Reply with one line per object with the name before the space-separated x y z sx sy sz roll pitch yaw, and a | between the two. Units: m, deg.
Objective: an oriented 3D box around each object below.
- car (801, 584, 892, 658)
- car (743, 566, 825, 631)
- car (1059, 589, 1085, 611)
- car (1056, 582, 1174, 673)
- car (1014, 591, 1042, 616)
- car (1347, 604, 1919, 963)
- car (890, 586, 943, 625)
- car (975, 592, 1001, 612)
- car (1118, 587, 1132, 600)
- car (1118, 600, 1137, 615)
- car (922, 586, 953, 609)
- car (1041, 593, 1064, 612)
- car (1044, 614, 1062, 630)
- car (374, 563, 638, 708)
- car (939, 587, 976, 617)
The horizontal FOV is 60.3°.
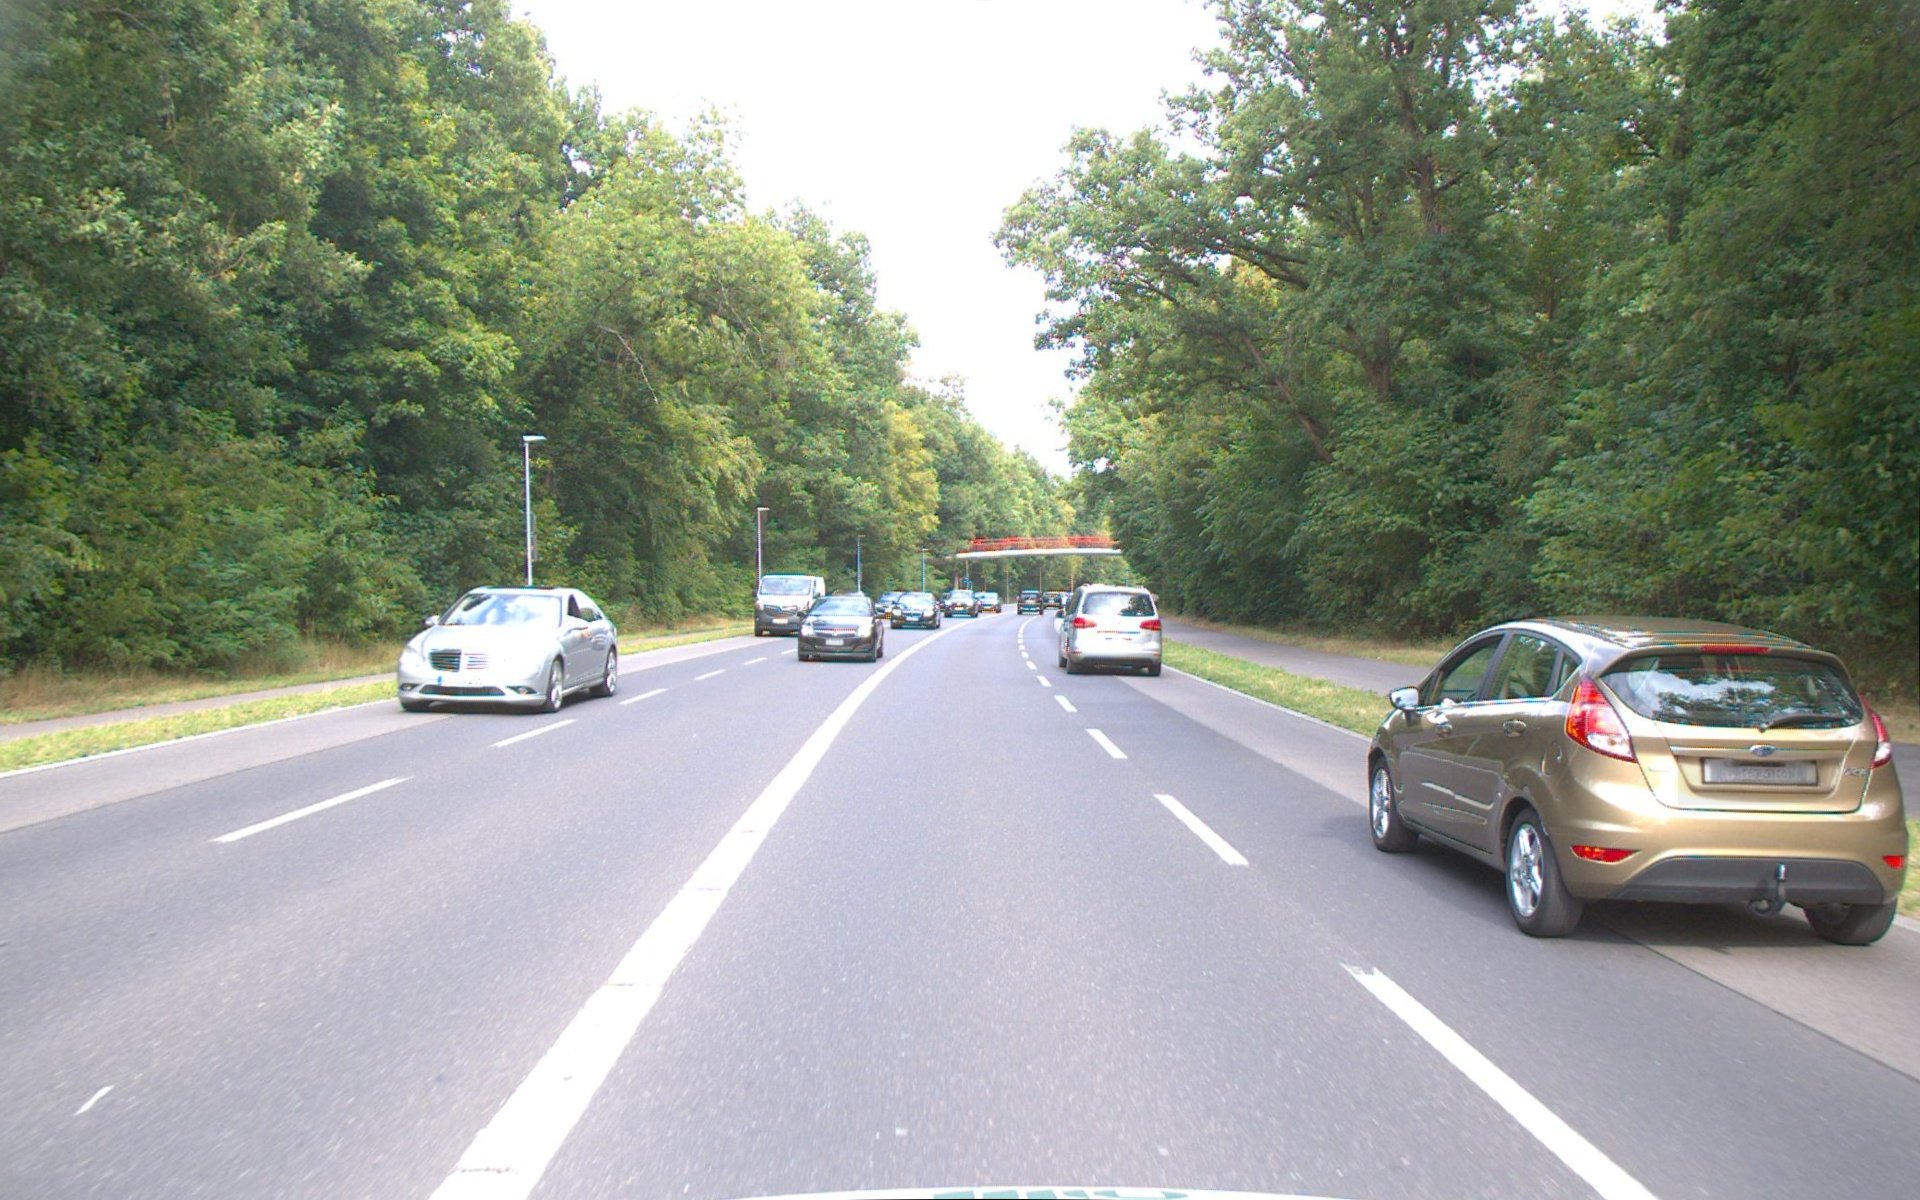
car | -2.480 0.466 36.902 1.622 1.512 3.867 2 -1 1
car | -5.732 -0.014 54.420 1.952 2.049 5.055 0 -1 2
car | 9.719 0.029 143.706 1.951 1.780 4.003 2 -1 7
car | 3.014 0.535 32.918 1.953 1.635 4.000 2 -1 0
car | 4.781 0.255 116.452 1.693 1.615 4.002 2 -1 6
car | 3.401 0.788 8.893 1.602 1.445 3.999 2 -1 -1
car | -1.747 0.253 68.080 1.846 1.504 4.519 2 -1 2
car | 2.118 0.134 123.217 1.662 1.410 3.829 -2 -1 4
car | 23.017 -0.882 230.882 1.951 1.735 4.003 -1 0 6
car | 19.908 0.955 196.586 1.766 1.697 4.000 2 -1 1
car | -1.671 -0.180 124.181 1.952 1.579 4.002 2 -1 4
car | 8.789 0.255 156.521 1.951 1.727 4.002 2 -1 6
car | 9.743 2.342 173.526 1.781 1.593 4.000 2 -1 2
car | -5.646 0.432 21.222 1.952 1.590 4.604 2 -1 1
car | -0.113 0.123 99.992 1.922 1.736 4.002 -2 -1 4
